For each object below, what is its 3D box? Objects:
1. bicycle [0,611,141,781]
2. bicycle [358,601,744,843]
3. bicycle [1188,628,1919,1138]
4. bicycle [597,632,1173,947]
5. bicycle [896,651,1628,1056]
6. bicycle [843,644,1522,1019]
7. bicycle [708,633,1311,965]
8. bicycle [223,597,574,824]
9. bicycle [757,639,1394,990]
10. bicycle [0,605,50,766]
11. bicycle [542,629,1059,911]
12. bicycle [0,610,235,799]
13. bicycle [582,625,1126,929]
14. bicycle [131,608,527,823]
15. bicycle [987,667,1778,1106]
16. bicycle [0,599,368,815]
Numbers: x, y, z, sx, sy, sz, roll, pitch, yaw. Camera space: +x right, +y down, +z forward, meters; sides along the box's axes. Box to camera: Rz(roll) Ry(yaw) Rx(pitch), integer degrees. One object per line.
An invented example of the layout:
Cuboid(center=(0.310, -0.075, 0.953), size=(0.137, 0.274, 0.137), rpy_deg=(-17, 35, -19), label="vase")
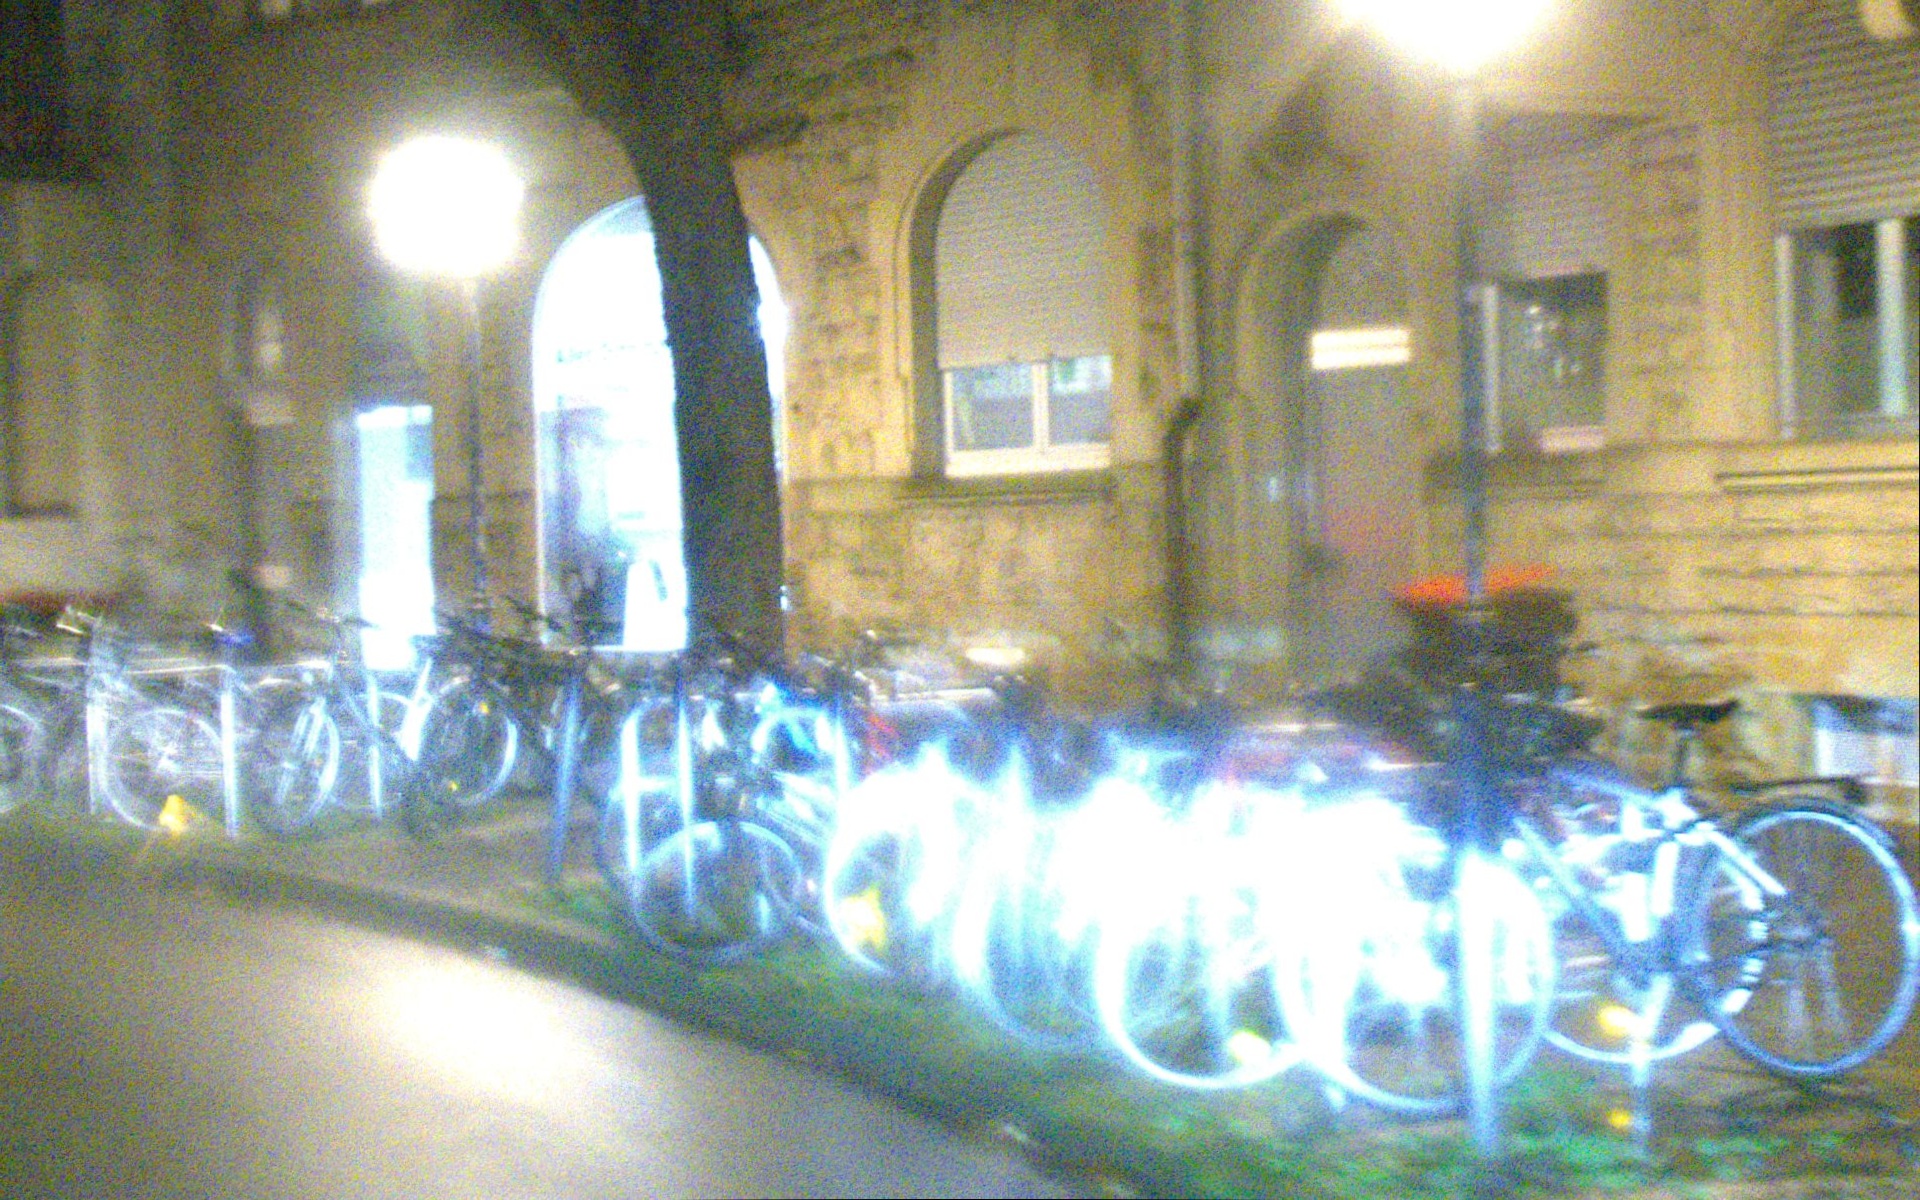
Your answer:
Cuboid(center=(-6.130, 0.613, 21.275), size=(1.969, 1.003, 0.642), rpy_deg=(-3, 2, -43), label="bicycle")
Cuboid(center=(-2.045, 0.588, 17.368), size=(1.820, 1.083, 0.721), rpy_deg=(-3, 2, -42), label="bicycle")
Cuboid(center=(1.629, 0.676, 8.735), size=(1.926, 1.111, 0.730), rpy_deg=(-2, 1, -14), label="bicycle")
Cuboid(center=(-0.279, 0.666, 12.526), size=(1.968, 1.003, 0.642), rpy_deg=(-2, 1, -14), label="bicycle")
Cuboid(center=(0.869, 0.703, 9.983), size=(1.968, 1.003, 0.688), rpy_deg=(-2, 1, -14), label="bicycle")
Cuboid(center=(0.684, 0.688, 10.675), size=(1.968, 1.003, 0.642), rpy_deg=(-2, 1, -14), label="bicycle")
Cuboid(center=(0.167, 0.667, 11.975), size=(1.968, 1.003, 0.642), rpy_deg=(-2, 1, -14), label="bicycle")
Cuboid(center=(-2.913, 0.553, 18.045), size=(0.641, 1.050, 1.971), rpy_deg=(-1, 1, 32), label="bicycle")
Cuboid(center=(0.376, 0.680, 11.357), size=(1.968, 1.003, 0.642), rpy_deg=(-2, 1, -14), label="bicycle")
Cuboid(center=(-6.942, 0.594, 22.167), size=(1.969, 1.031, 0.642), rpy_deg=(-3, 2, -43), label="bicycle")
Cuboid(center=(-0.649, 0.666, 13.928), size=(1.968, 1.003, 0.642), rpy_deg=(-2, 1, -14), label="bicycle")
Cuboid(center=(-5.281, 0.607, 20.071), size=(1.969, 1.003, 0.642), rpy_deg=(-3, 2, -43), label="bicycle")
Cuboid(center=(-0.415, 0.658, 13.262), size=(1.968, 1.030, 0.642), rpy_deg=(-2, 1, -14), label="bicycle")
Cuboid(center=(-3.318, 0.589, 18.044), size=(1.968, 1.003, 0.642), rpy_deg=(-2, 1, -14), label="bicycle")
Cuboid(center=(1.114, 0.725, 9.158), size=(1.926, 0.984, 0.730), rpy_deg=(-2, 1, -14), label="bicycle")
Cuboid(center=(-4.323, 0.568, 19.096), size=(1.969, 1.061, 0.642), rpy_deg=(-3, 2, -43), label="bicycle")
